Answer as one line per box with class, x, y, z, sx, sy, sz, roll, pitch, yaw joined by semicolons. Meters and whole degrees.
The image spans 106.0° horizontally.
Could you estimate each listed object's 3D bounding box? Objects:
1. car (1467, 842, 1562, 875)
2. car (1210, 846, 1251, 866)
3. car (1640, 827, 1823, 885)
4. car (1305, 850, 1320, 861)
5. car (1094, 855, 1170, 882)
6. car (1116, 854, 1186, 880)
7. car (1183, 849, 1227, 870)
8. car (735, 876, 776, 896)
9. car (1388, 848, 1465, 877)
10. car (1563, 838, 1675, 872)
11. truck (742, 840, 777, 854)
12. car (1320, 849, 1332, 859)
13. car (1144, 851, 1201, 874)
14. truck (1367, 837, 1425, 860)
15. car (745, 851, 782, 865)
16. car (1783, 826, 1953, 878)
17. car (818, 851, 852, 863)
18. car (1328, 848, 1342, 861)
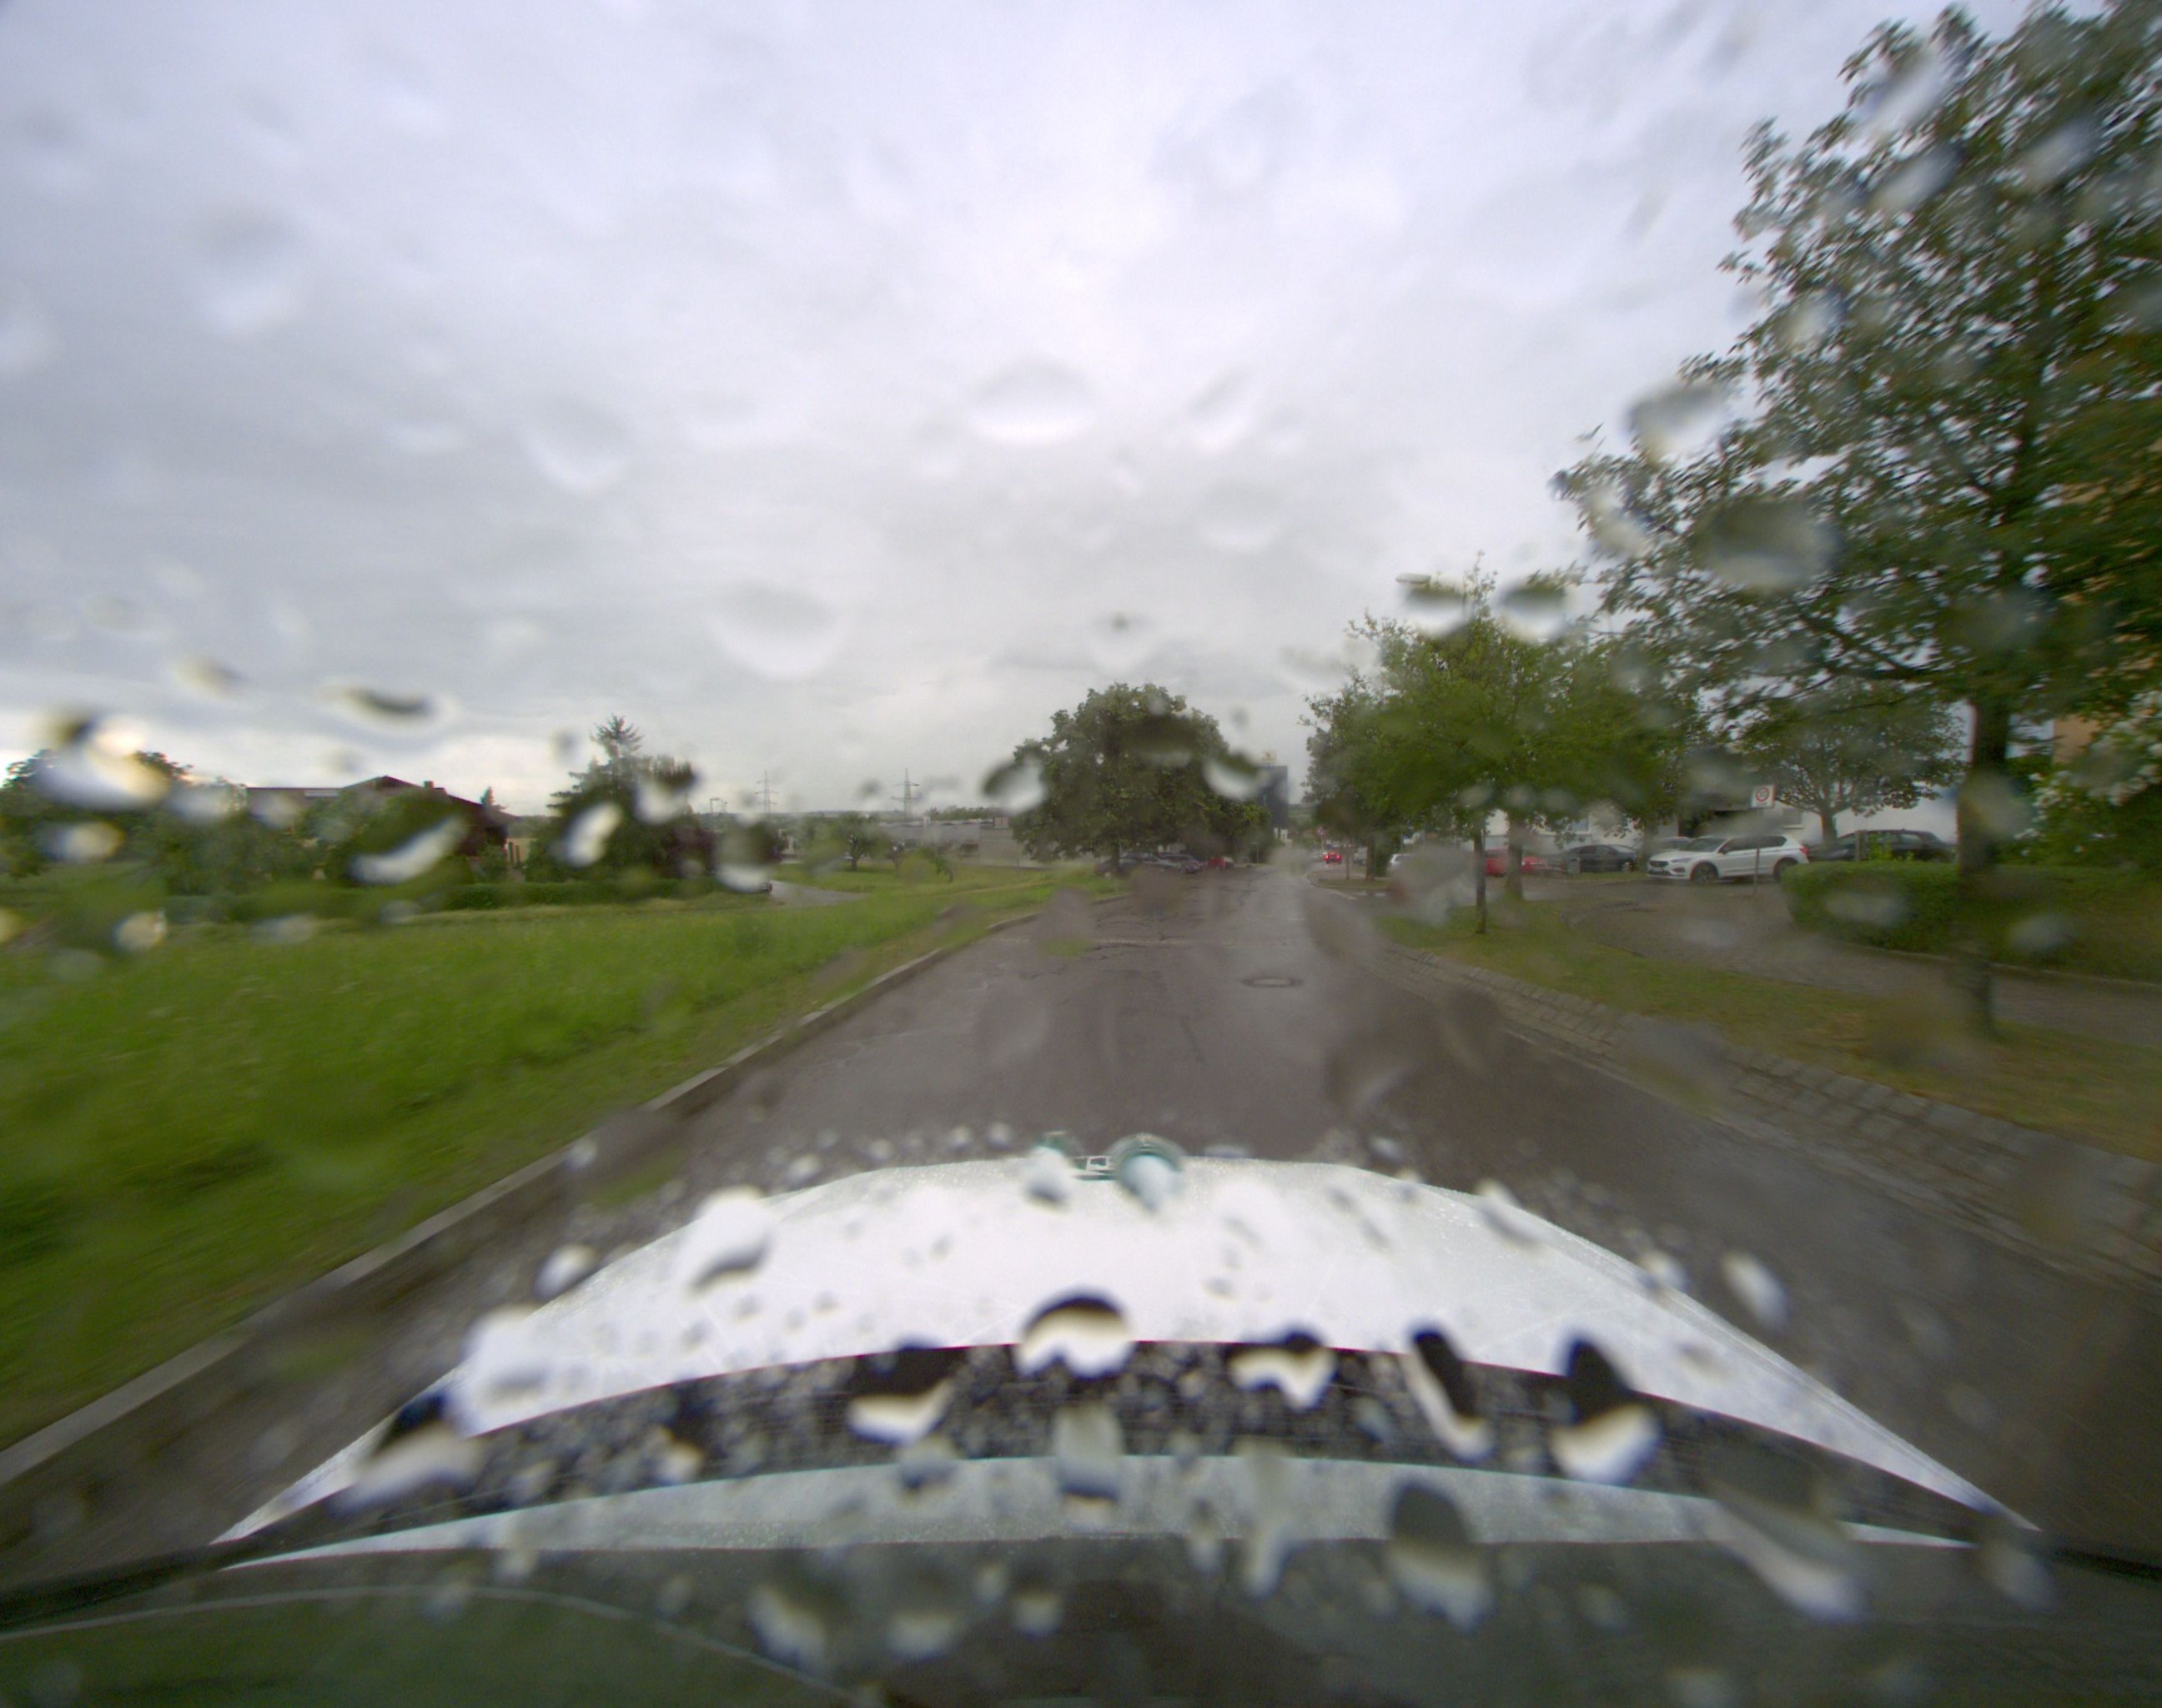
car;21.050;0.242;39.707;1.875;1.475;3.956;-2;0;-15
car;15.141;0.188;82.533;3.960;1.811;2.007;-3;0;12
car;21.642;0.057;27.227;4.652;1.655;1.873;-3;0;-2
car;36.063;0.225;126.739;1.859;1.597;4.020;-3;0;19
car;2.991;0.831;47.432;4.137;1.355;1.869;-3;0;12
car;4.299;0.780;49.631;3.960;1.361;1.860;-3;0;12
car;10.685;0.476;70.032;3.535;1.605;1.700;-3;0;15
car;-28.205;2.735;70.493;3.950;1.596;1.792;0;1;44
car;20.828;0.488;49.258;4.061;1.566;2.009;-3;0;18
car;24.755;0.077;37.605;1.817;1.417;3.907;-2;0;-23
truck;-56.531;-1.214;143.202;5.356;2.309;2.407;0;2;-40
car;41.482;0.025;137.866;1.776;1.597;4.020;-3;0;19
car;6.465;0.609;57.352;3.844;1.547;1.779;-1;0;11
truck;41.870;-0.756;108.424;6.795;2.726;2.661;-3;-1;29
car;-41.994;0.489;107.771;4.298;1.701;1.776;0;2;-40
car;26.208;-0.055;27.210;3.976;1.515;1.810;-3;0;-2
car;-34.736;0.412;115.001;4.298;1.701;1.776;0;2;-40
car;33.311;0.071;106.870;1.672;1.551;3.715;0;2;19
